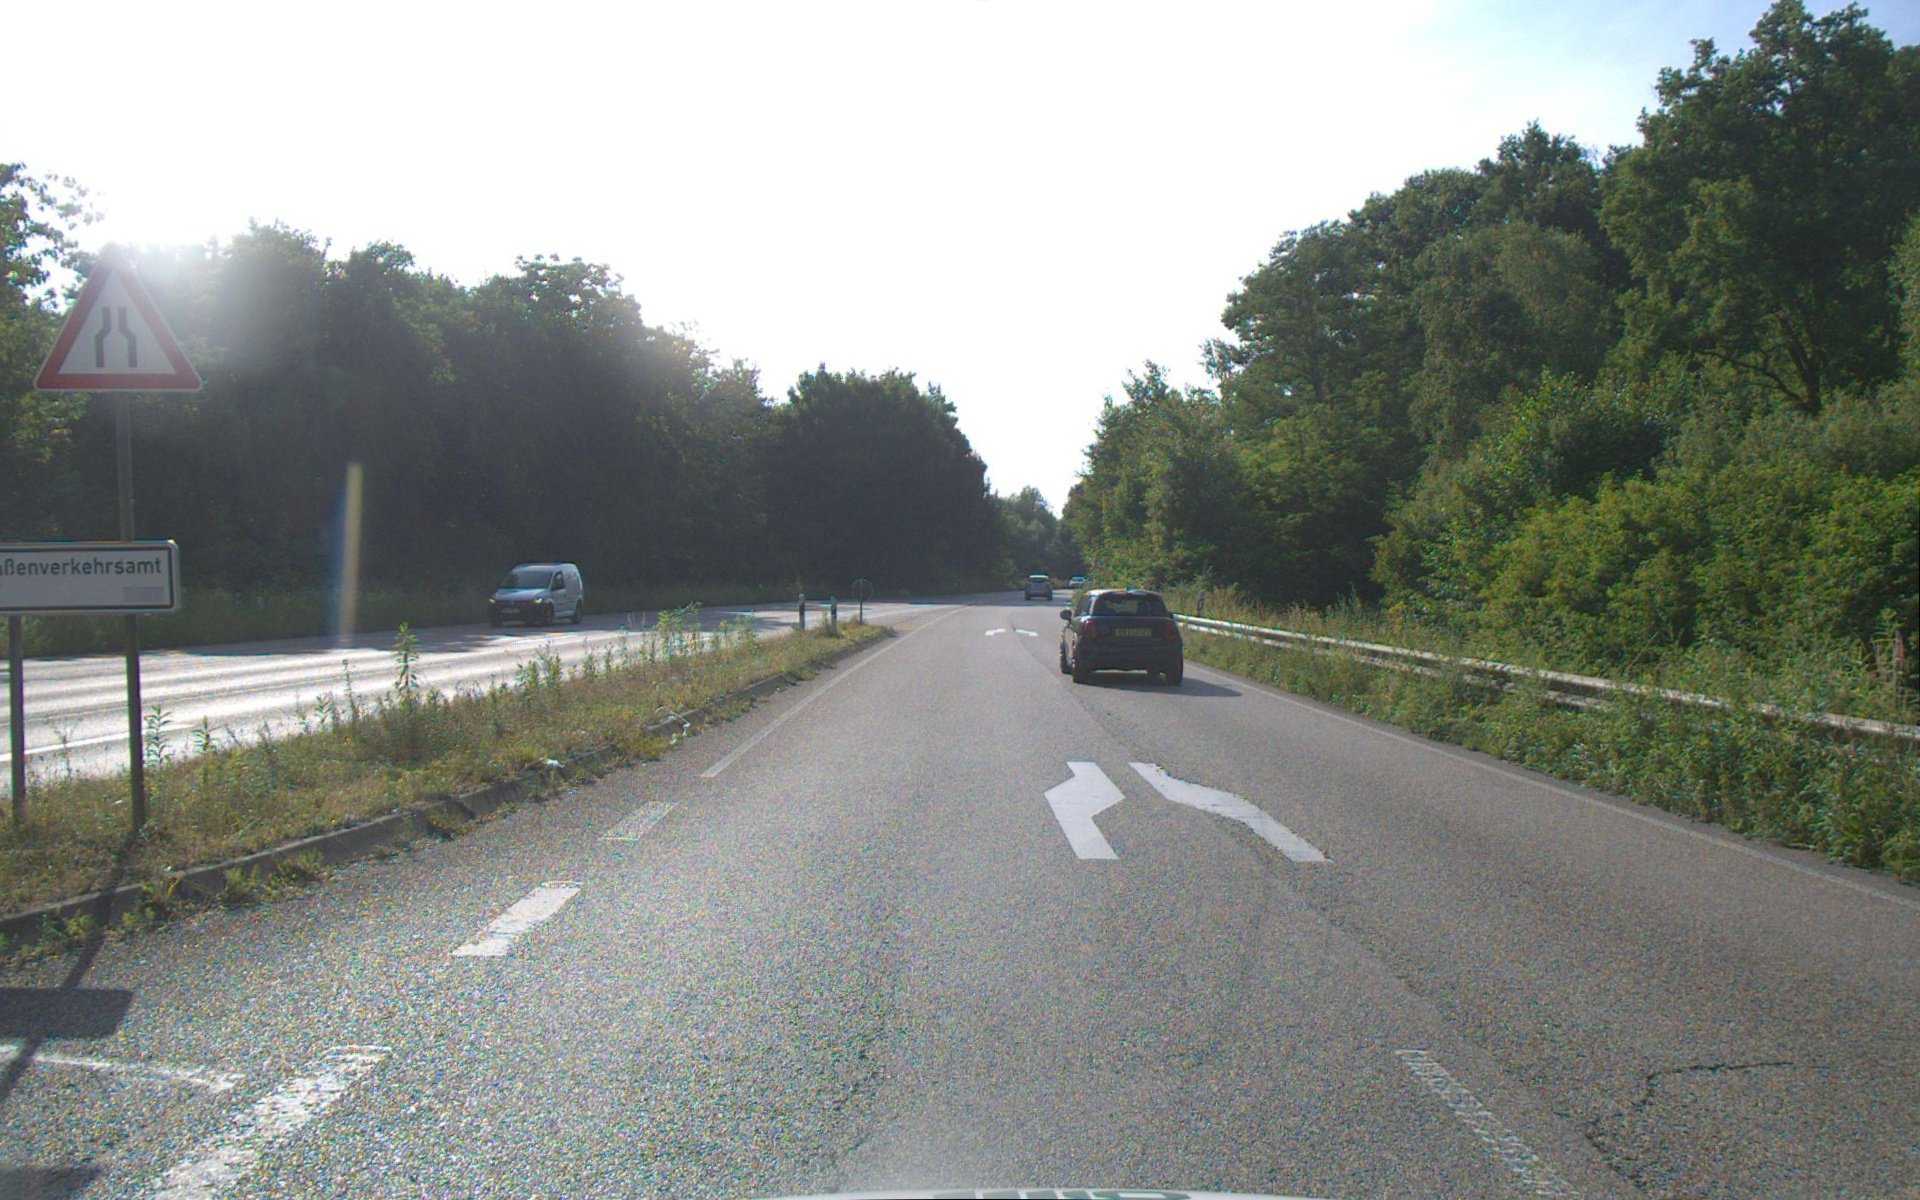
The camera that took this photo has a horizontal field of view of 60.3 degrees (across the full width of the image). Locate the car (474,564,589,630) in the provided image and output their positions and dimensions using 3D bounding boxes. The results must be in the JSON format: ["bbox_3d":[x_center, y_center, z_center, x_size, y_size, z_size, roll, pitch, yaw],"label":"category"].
[{"bbox_3d":[-12.651,-0.061,49.116,1.811,1.817,4.672,1,-1,5],"label":"car"}]

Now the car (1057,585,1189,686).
[{"bbox_3d":[2.567,0.553,26.853,1.782,1.493,3.872,1,-1,0],"label":"car"}]

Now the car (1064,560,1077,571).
[{"bbox_3d":[15.642,-4.812,233.939,1.724,1.404,3.972,1,-1,2],"label":"car"}]

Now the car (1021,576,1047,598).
[{"bbox_3d":[5.178,-0.892,115.942,1.724,1.404,3.972,1,-1,2],"label":"car"}]
